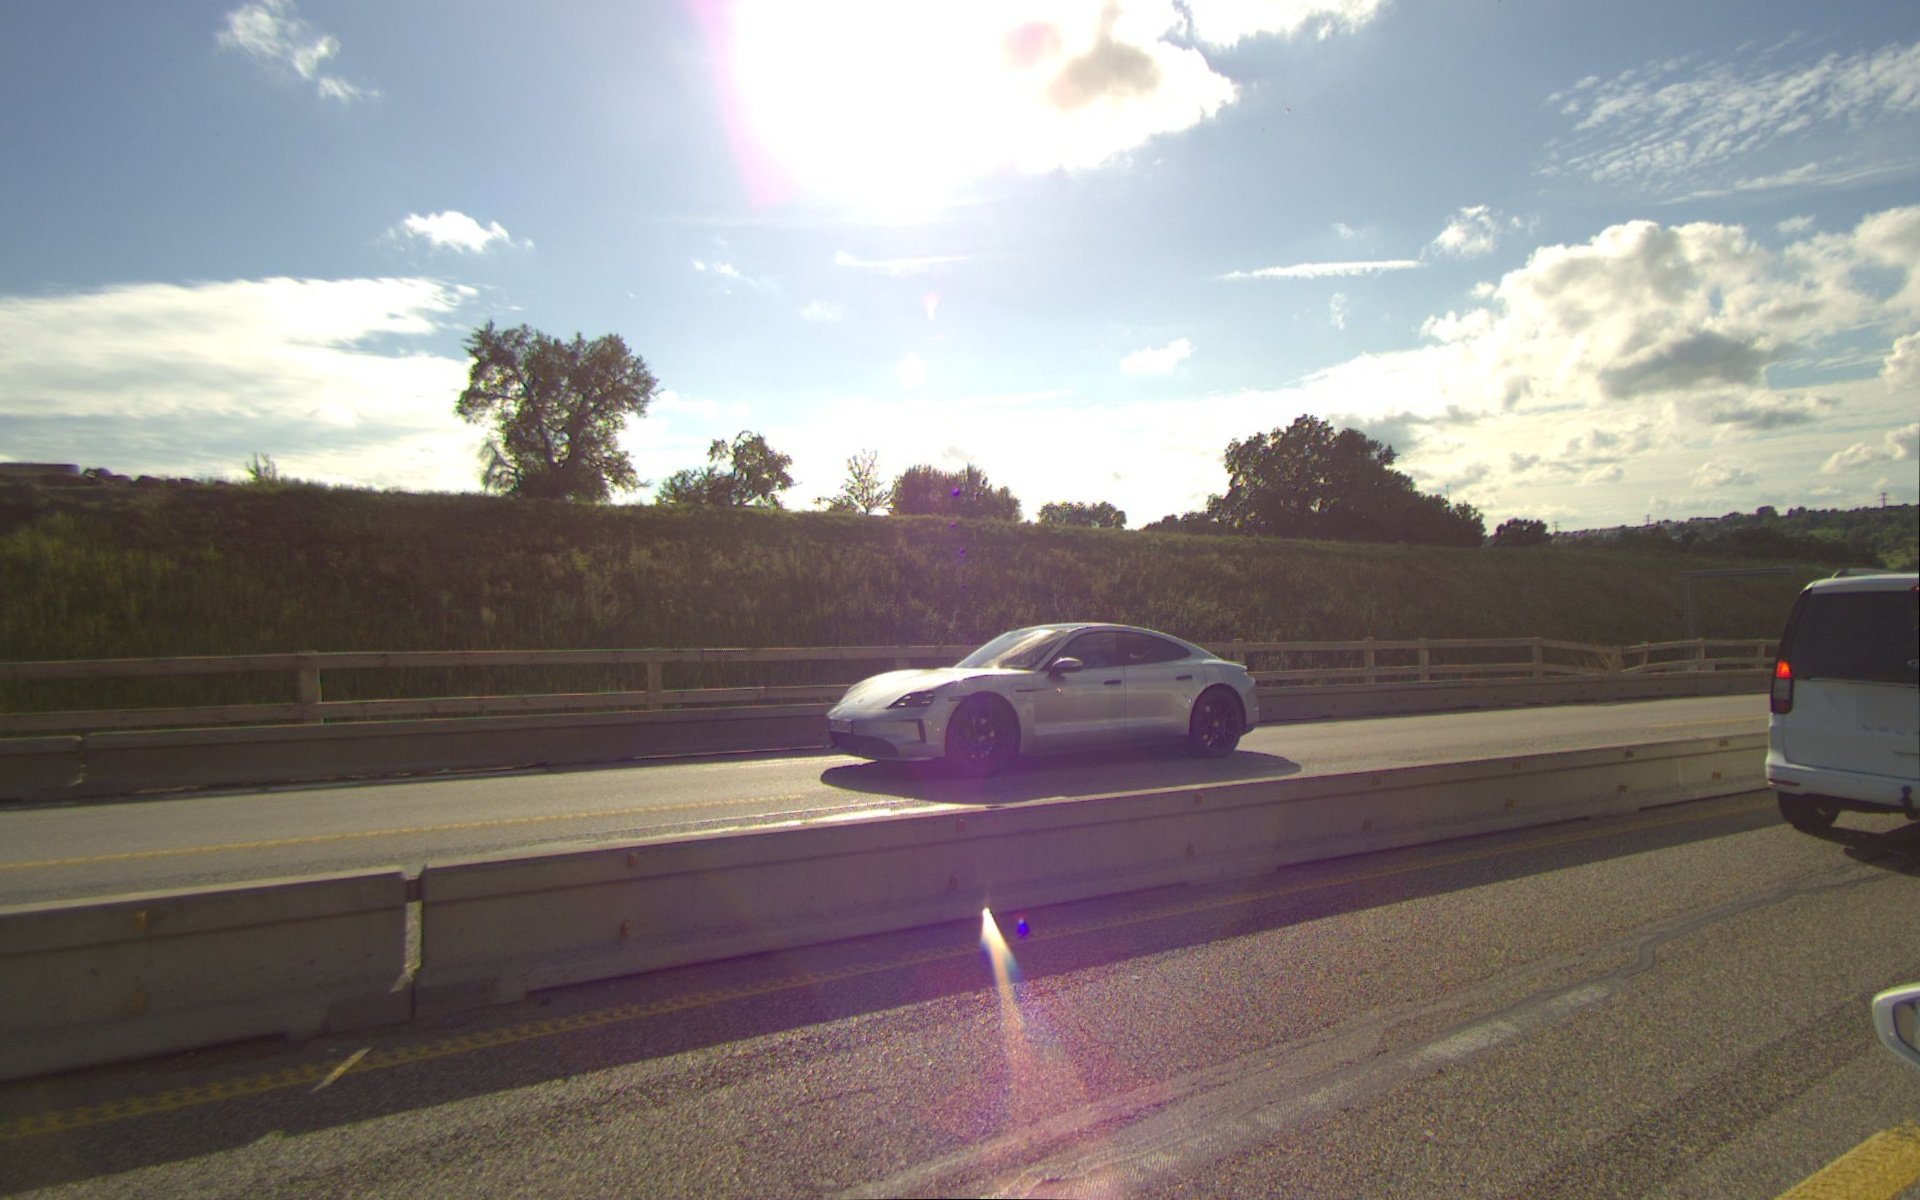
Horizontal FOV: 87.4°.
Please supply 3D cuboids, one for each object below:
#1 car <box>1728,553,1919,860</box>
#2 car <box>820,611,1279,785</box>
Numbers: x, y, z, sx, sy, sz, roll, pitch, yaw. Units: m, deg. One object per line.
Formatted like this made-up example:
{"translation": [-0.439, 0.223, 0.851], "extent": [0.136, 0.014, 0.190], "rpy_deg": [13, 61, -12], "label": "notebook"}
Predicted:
{"translation": [7.675, 0.666, 7.195], "extent": [4.401, 1.848, 1.815], "rpy_deg": [1, 1, -29], "label": "car"}
{"translation": [1.013, 0.913, 10.296], "extent": [4.575, 1.443, 1.725], "rpy_deg": [2, -4, -32], "label": "car"}
